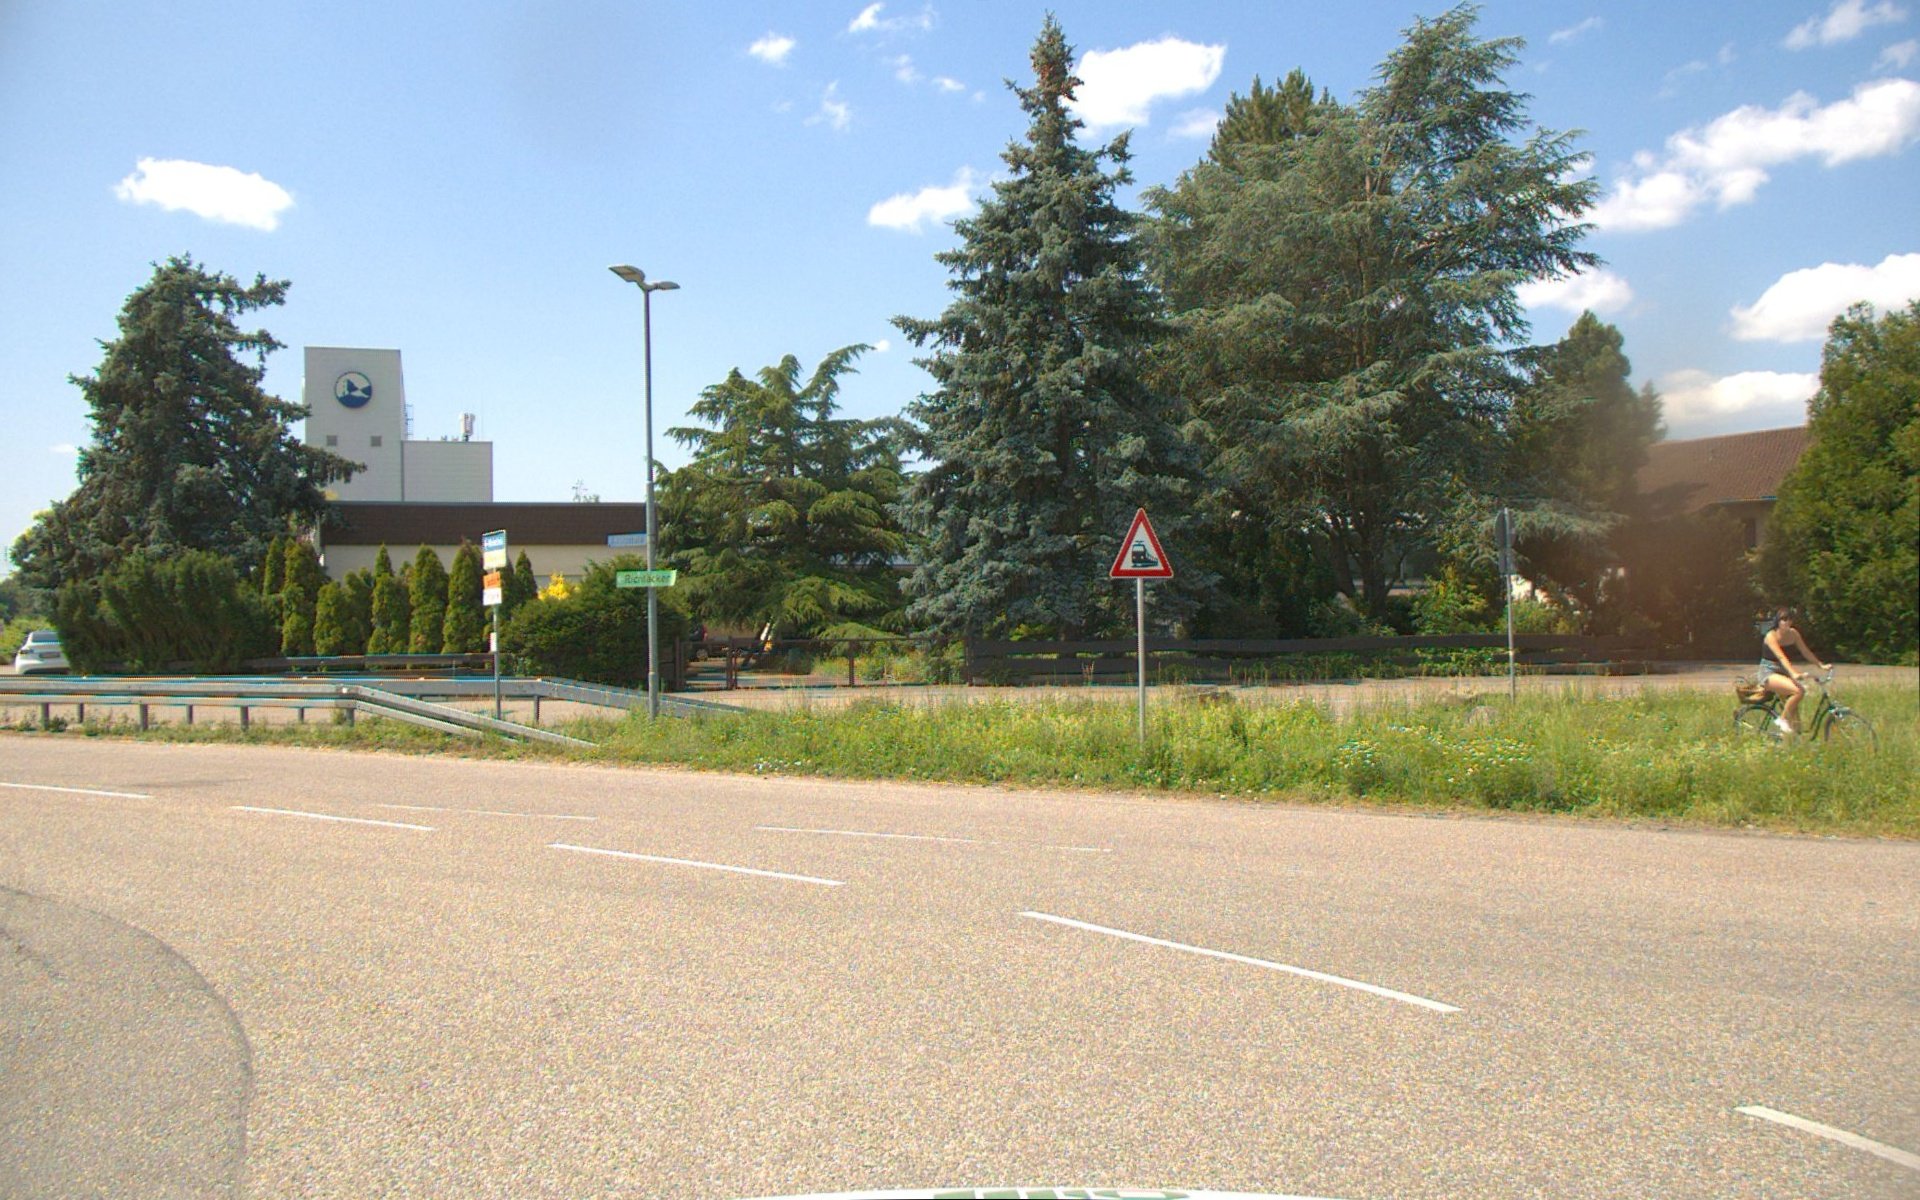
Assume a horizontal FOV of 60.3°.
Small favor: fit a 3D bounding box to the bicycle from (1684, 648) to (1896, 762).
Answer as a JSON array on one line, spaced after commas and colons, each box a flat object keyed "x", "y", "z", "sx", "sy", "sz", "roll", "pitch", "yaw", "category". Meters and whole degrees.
[{"x": 9.493, "y": 1.169, "z": 19.005, "sx": 0.654, "sy": 1.185, "sz": 2.119, "roll": -1, "pitch": 0, "yaw": -36, "category": "bicycle"}]

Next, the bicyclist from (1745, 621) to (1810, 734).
[{"x": 9.430, "y": 0.886, "z": 19.085, "sx": 0.464, "sy": 1.277, "sz": 0.505, "roll": 0, "pitch": -1, "yaw": -35, "category": "bicyclist"}]

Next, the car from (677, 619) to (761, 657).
[{"x": -10.804, "y": 1.678, "z": 74.164, "sx": 3.475, "sy": 1.613, "sz": 1.555, "roll": -1, "pitch": 0, "yaw": -22, "category": "car"}]

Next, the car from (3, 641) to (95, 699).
[{"x": -27.209, "y": 2.064, "z": 49.504, "sx": 1.967, "sy": 1.536, "sz": 4.421, "roll": -1, "pitch": 0, "yaw": -23, "category": "car"}]
